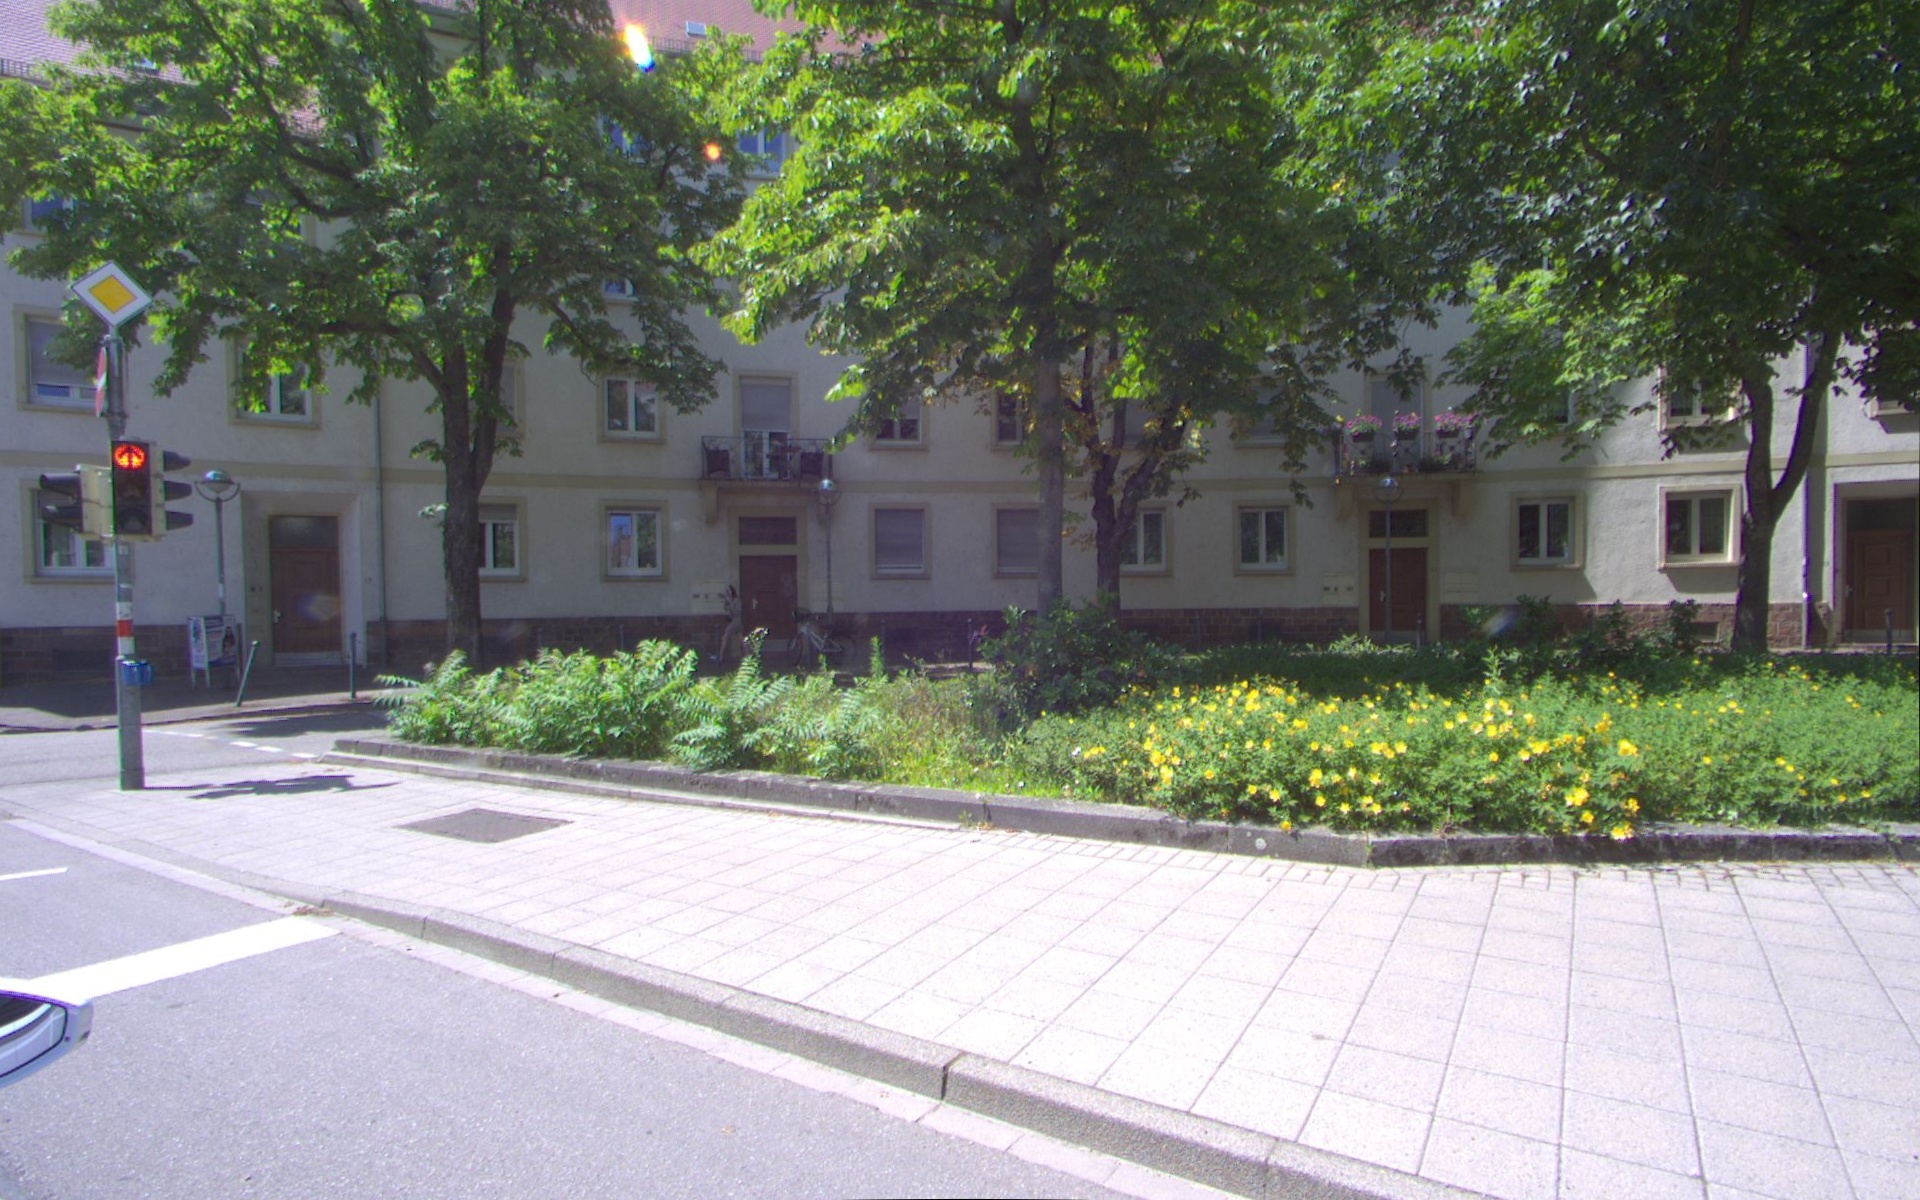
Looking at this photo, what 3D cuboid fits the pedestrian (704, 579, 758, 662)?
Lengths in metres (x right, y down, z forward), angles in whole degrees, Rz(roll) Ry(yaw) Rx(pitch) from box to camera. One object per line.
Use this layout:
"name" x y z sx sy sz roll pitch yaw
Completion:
"pedestrian" -5.054 0.430 22.084 1.039 1.715 0.651 -3 7 -20

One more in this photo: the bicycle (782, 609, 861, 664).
"bicycle" -2.882 0.752 20.873 1.575 1.119 0.525 -1 1 -4
